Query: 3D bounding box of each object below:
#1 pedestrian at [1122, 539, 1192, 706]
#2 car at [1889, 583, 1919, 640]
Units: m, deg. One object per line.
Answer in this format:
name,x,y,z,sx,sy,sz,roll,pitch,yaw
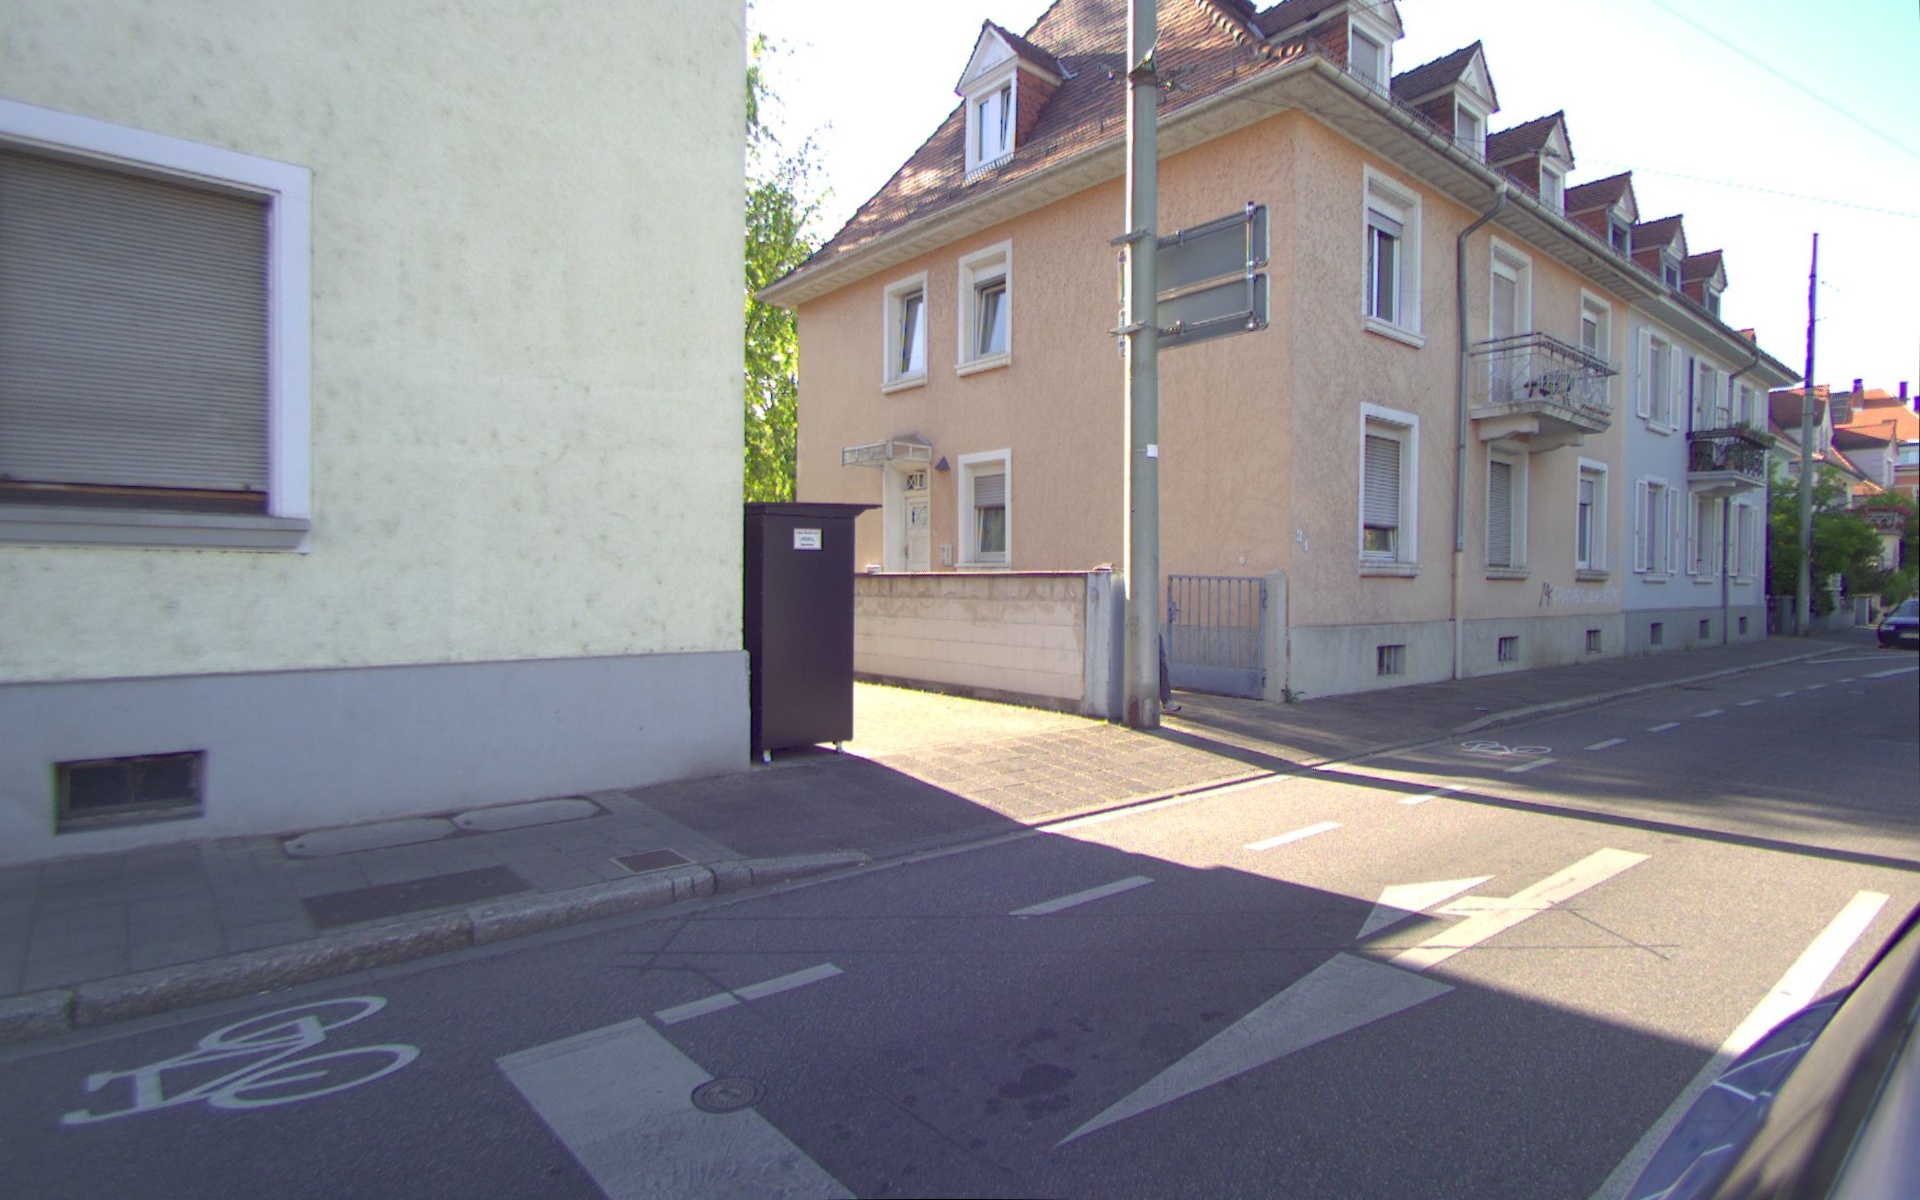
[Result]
pedestrian,2.165,0.233,11.136,0.592,1.783,0.486,0,1,-39
car,27.096,0.295,27.592,3.926,1.504,1.883,-1,2,-37
